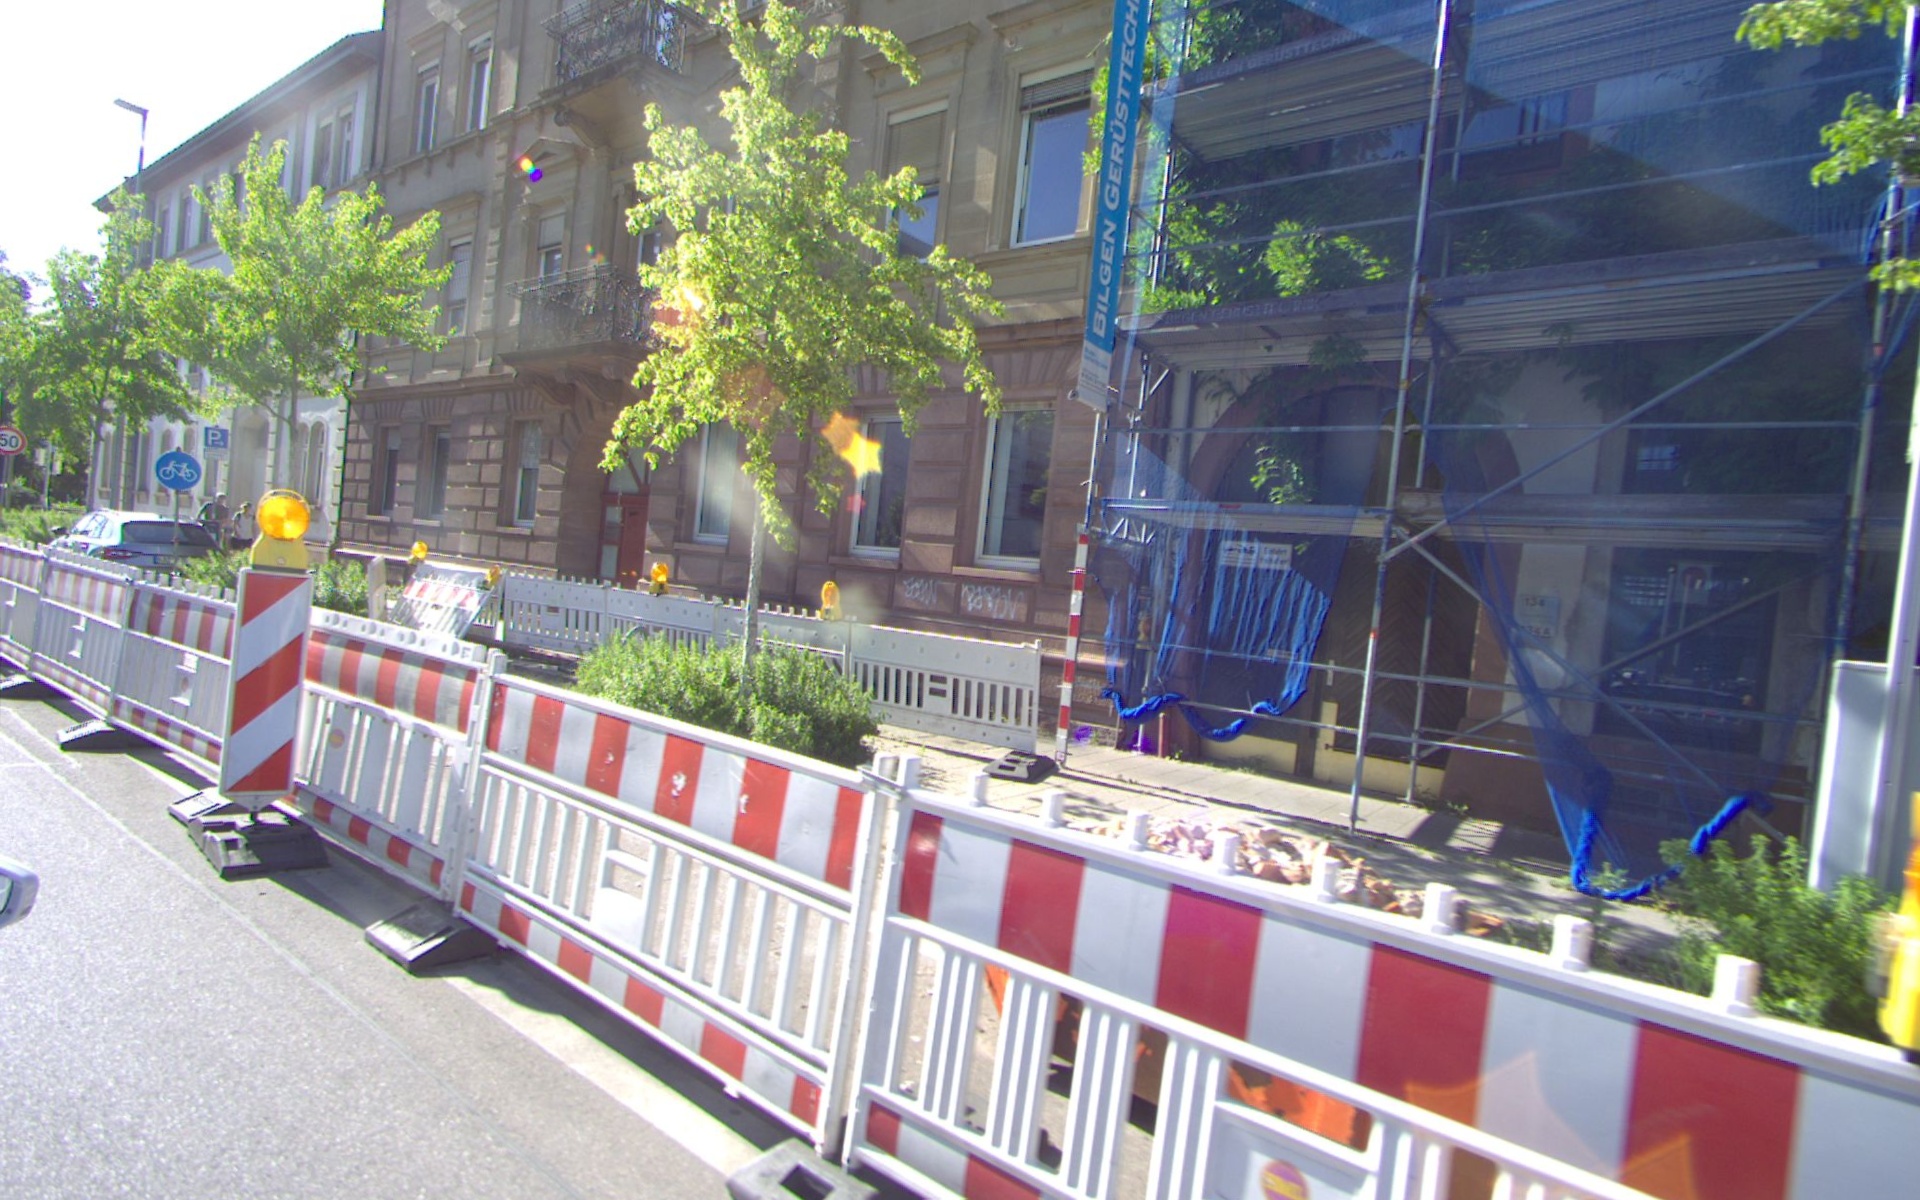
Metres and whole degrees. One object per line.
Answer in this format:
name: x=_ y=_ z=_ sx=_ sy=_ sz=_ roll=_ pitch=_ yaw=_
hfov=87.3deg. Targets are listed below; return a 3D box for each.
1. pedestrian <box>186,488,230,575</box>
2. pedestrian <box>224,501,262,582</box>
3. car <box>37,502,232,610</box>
pedestrian: x=-17.307 y=-1.573 z=23.143 sx=0.578 sy=1.940 sz=0.657 roll=7 pitch=5 yaw=38
pedestrian: x=-16.922 y=-1.377 z=23.733 sx=0.578 sy=1.846 sz=0.561 roll=7 pitch=5 yaw=38
car: x=-14.363 y=-0.800 z=17.405 sx=4.630 sy=1.495 sz=1.644 roll=7 pitch=3 yaw=38
